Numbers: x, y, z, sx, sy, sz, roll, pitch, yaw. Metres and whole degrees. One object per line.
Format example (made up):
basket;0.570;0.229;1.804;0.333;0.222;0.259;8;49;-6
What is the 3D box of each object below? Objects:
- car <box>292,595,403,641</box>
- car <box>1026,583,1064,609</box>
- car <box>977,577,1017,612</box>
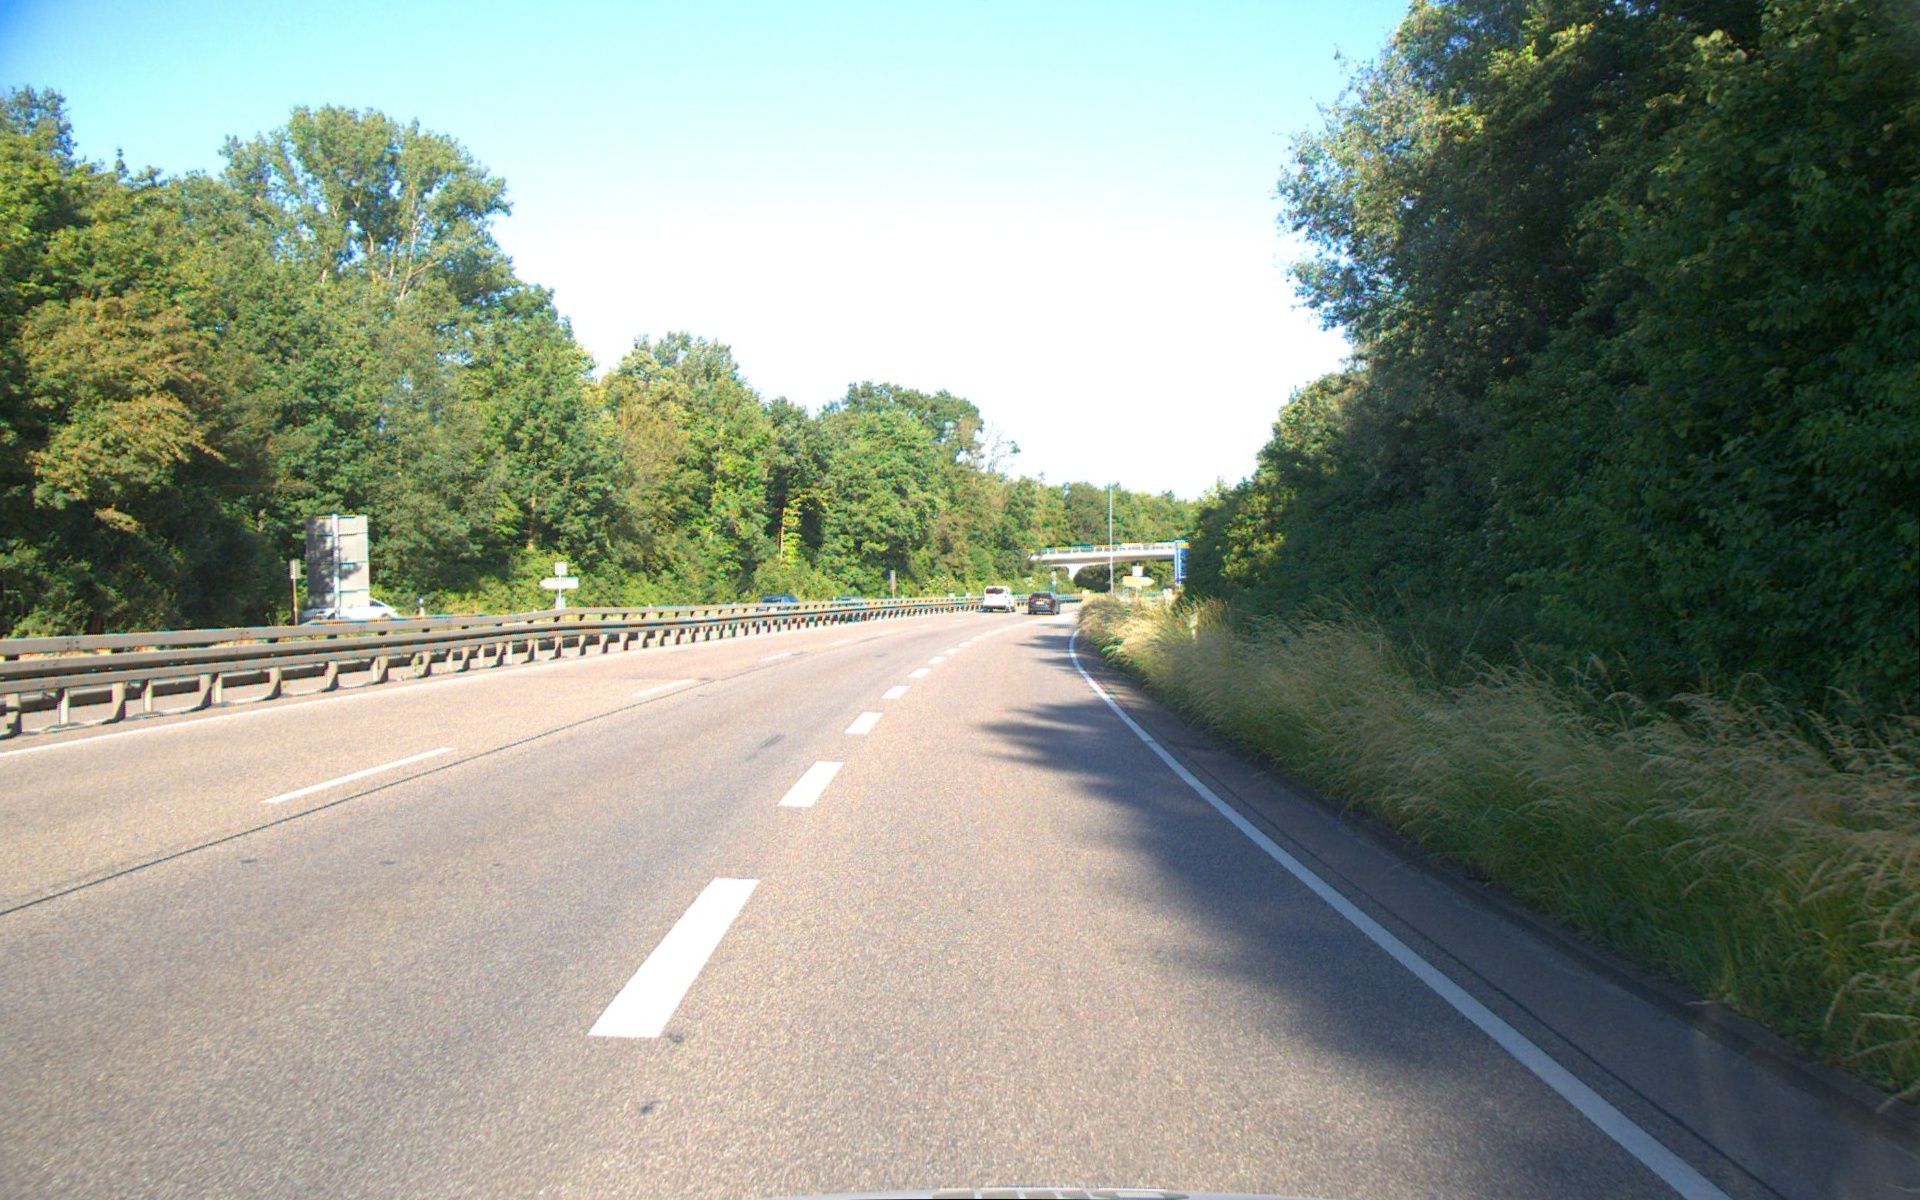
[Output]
car;-28.660;0.850;77.521;1.958;2.049;4.616;0;-1;32
car;5.515;-0.266;107.142;1.702;1.691;3.949;-1;0;14
car;2.559;-0.400;113.098;1.951;2.317;4.003;-1;0;13
